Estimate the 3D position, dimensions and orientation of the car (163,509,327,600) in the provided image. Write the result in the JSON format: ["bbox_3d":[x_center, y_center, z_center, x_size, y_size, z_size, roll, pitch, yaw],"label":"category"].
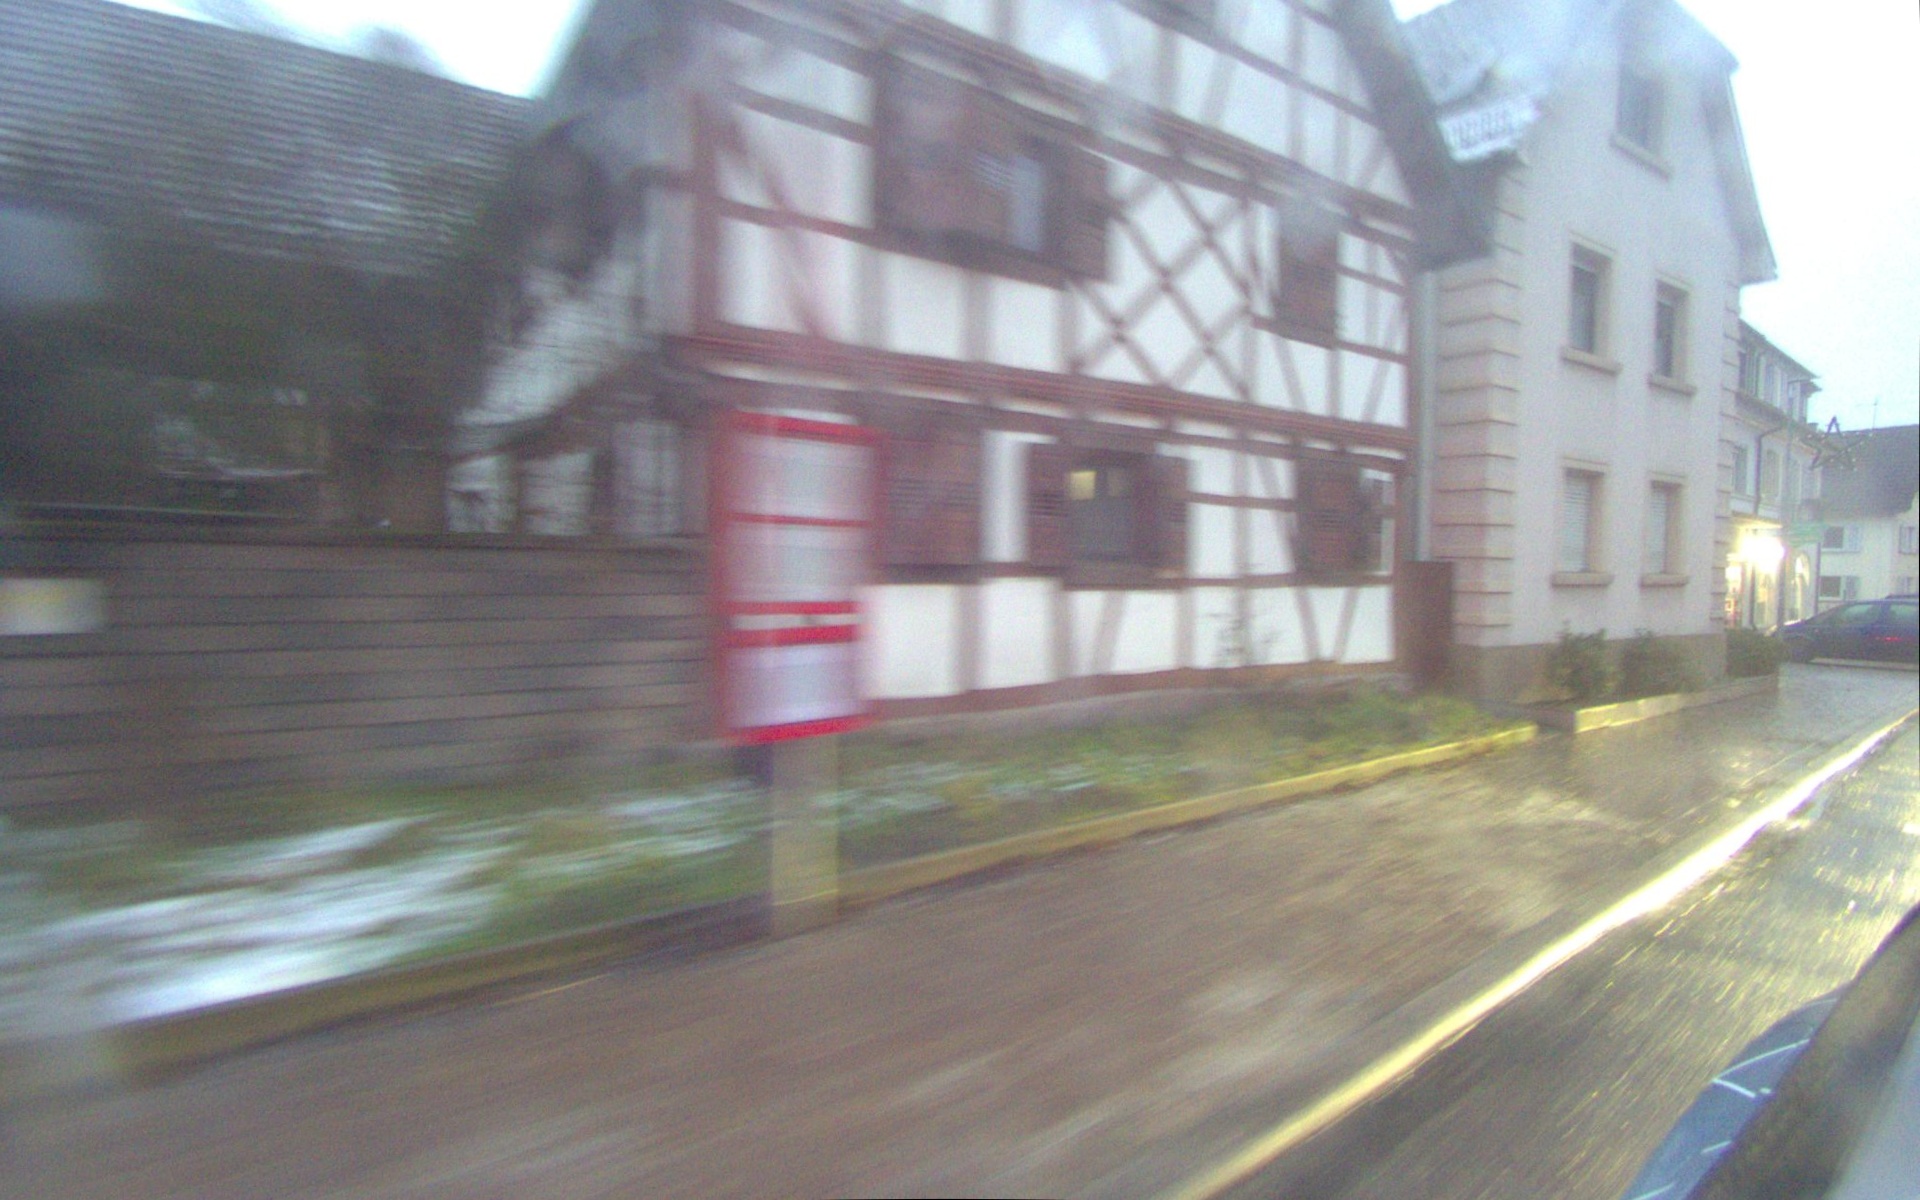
[{"bbox_3d":[-14.819,-1.034,21.280,2.029,1.622,4.746,0,5,-26],"label":"car"}]

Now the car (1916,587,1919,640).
[{"bbox_3d":[33.583,0.548,32.556,1.683,1.754,3.888,1,2,-39],"label":"car"}]

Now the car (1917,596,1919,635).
[{"bbox_3d":[35.236,0.631,34.308,1.523,1.384,3.888,1,2,-39],"label":"car"}]

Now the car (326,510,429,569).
[{"bbox_3d":[-15.353,-1.580,26.841,1.668,1.437,3.518,1,2,-18],"label":"car"}]

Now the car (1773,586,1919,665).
[{"bbox_3d":[21.583,0.587,23.630,1.585,1.647,3.846,1,3,-44],"label":"car"}]

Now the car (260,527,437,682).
[{"bbox_3d":[-7.497,-0.086,12.372,1.587,1.561,3.431,-3,6,-33],"label":"car"}]

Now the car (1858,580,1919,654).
[{"bbox_3d":[26.210,0.504,26.493,1.839,1.900,3.881,1,2,-44],"label":"car"}]
